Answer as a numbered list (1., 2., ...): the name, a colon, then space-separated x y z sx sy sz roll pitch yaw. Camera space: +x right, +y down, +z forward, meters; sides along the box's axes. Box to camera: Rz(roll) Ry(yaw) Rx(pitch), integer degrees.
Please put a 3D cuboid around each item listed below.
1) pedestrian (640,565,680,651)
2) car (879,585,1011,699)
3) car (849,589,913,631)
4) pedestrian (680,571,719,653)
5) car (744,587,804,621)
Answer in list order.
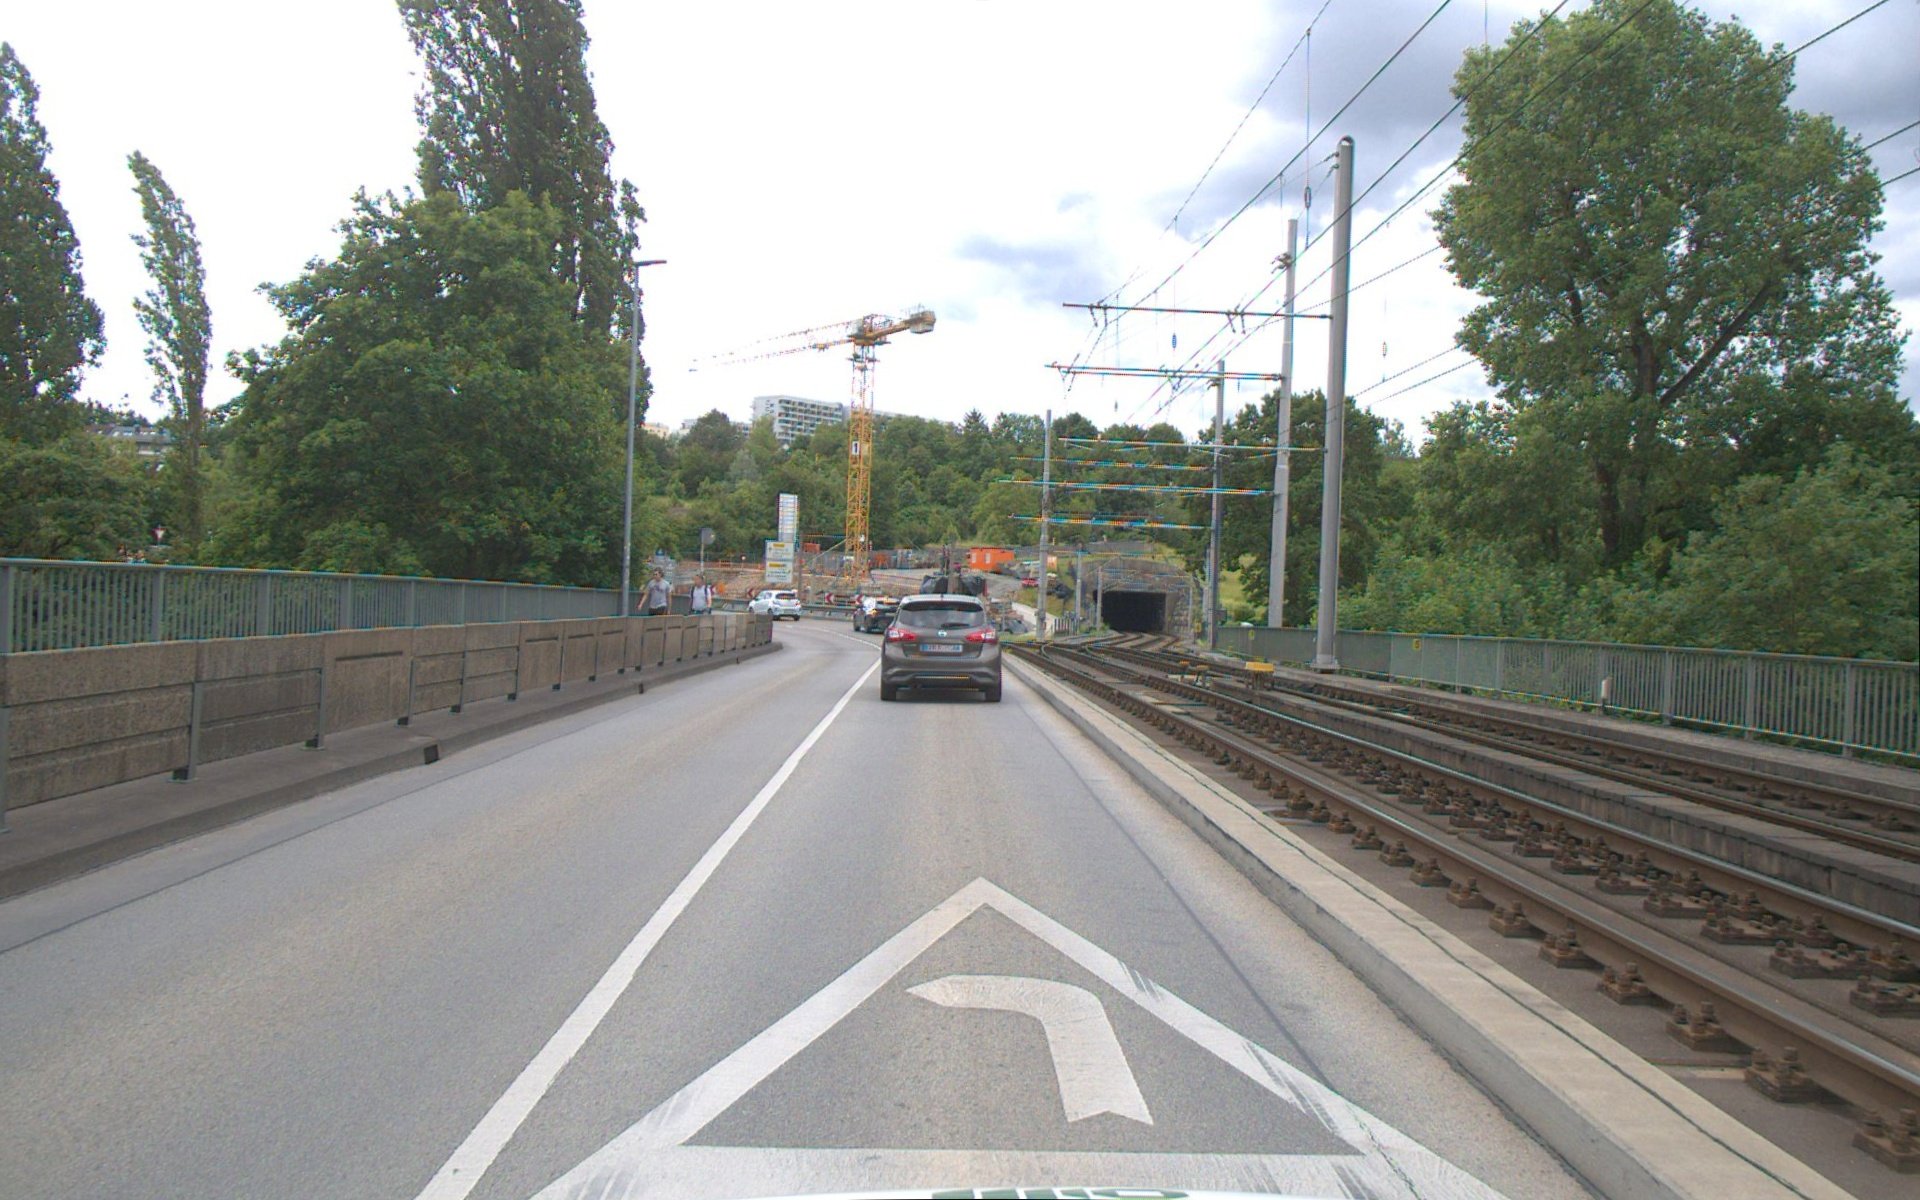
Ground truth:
1. pedestrian: -6.717 0.175 37.047 0.706 1.872 0.723 2 0 -1
2. car: -0.285 0.578 24.881 1.793 1.536 3.998 1 0 -3
3. car: -3.359 0.404 69.558 1.653 1.634 4.289 1 1 -17
4. pedestrian: -5.672 0.255 36.037 0.706 1.731 0.723 2 0 -1
5. car: -9.620 0.197 85.258 1.661 1.634 4.270 1 1 -28
